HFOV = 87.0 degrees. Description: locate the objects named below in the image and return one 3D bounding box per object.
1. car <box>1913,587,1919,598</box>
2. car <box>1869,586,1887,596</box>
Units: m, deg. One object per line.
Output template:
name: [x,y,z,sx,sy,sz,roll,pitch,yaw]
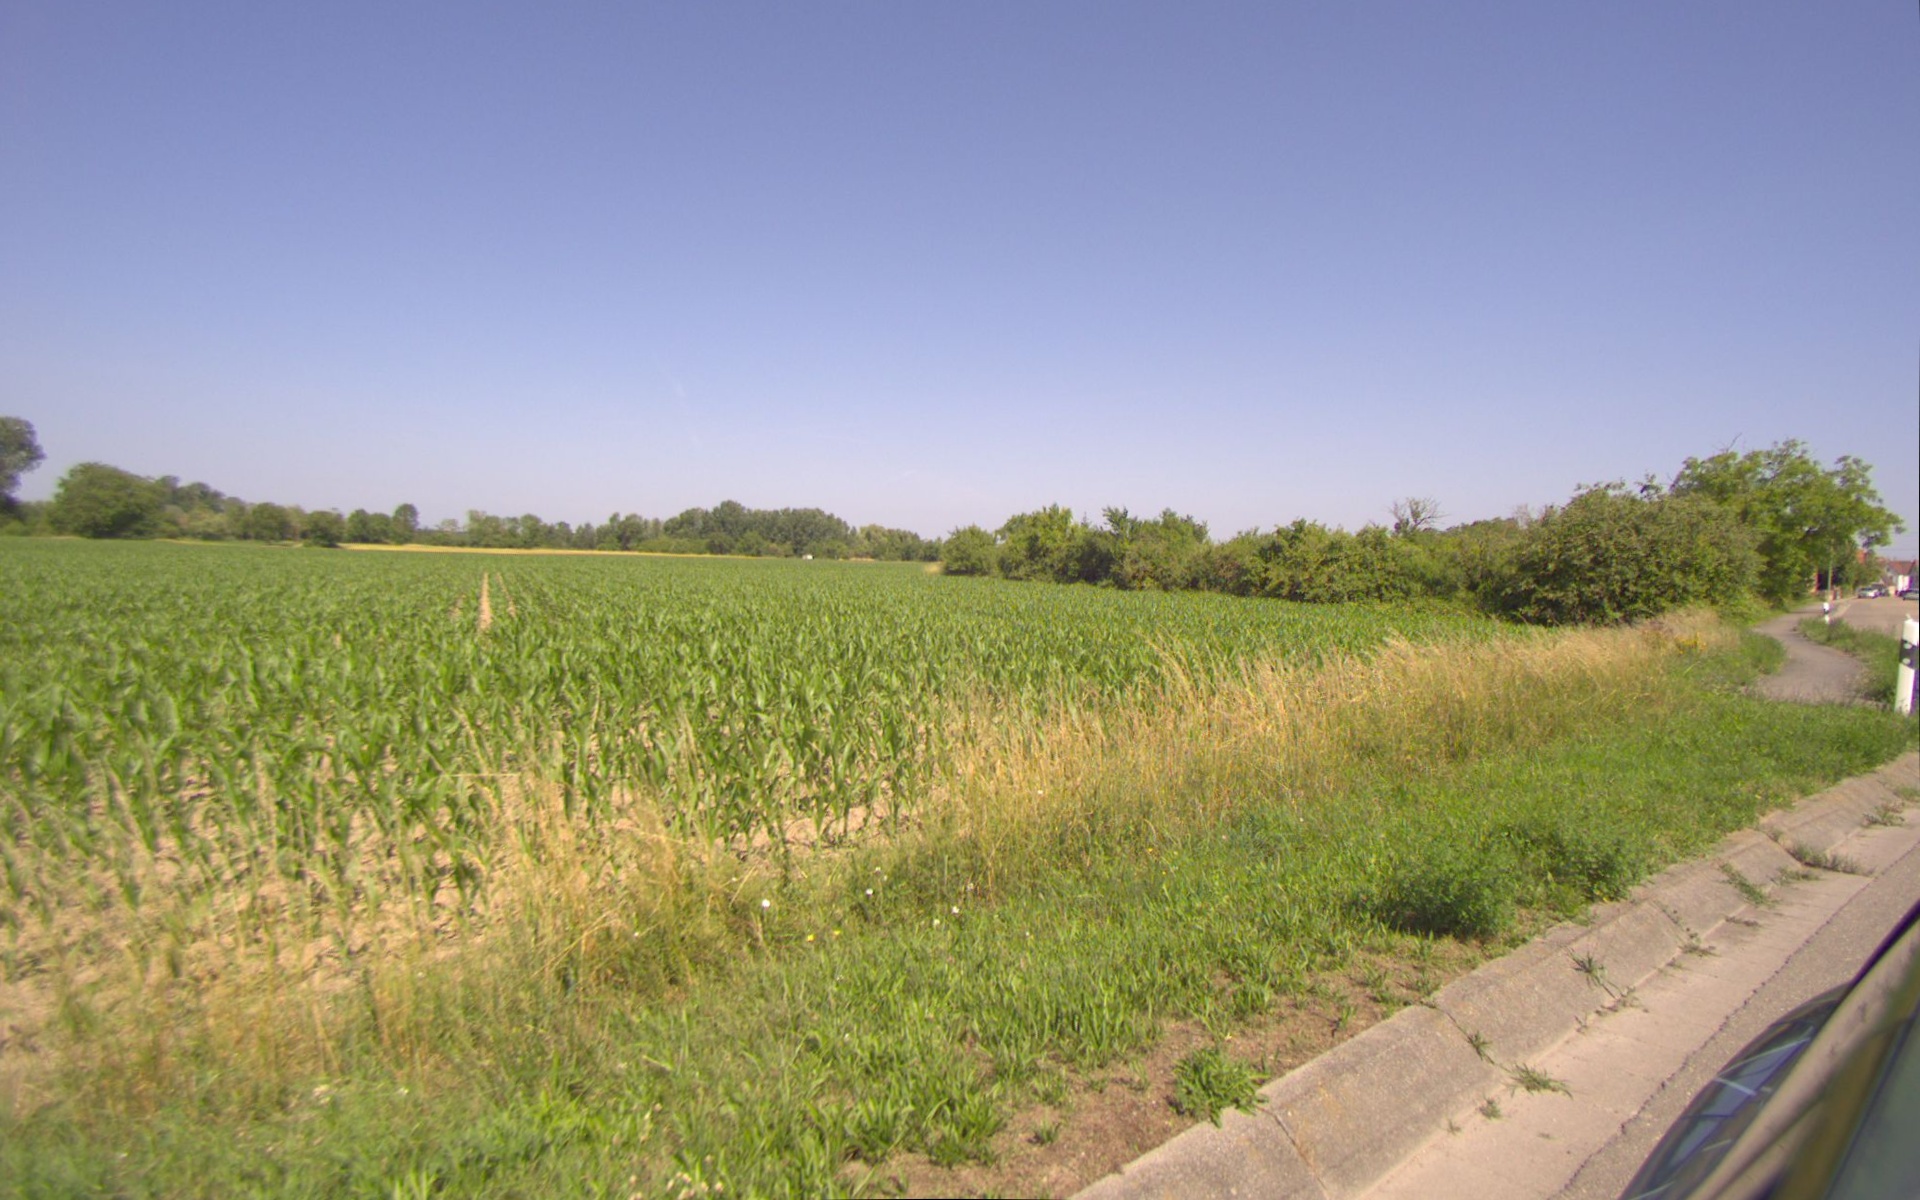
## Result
car: [120.981,-0.932,127.148,1.729,1.405,3.477,4,3,43]
car: [126.363,-1.244,139.255,1.729,1.405,3.477,4,3,43]
